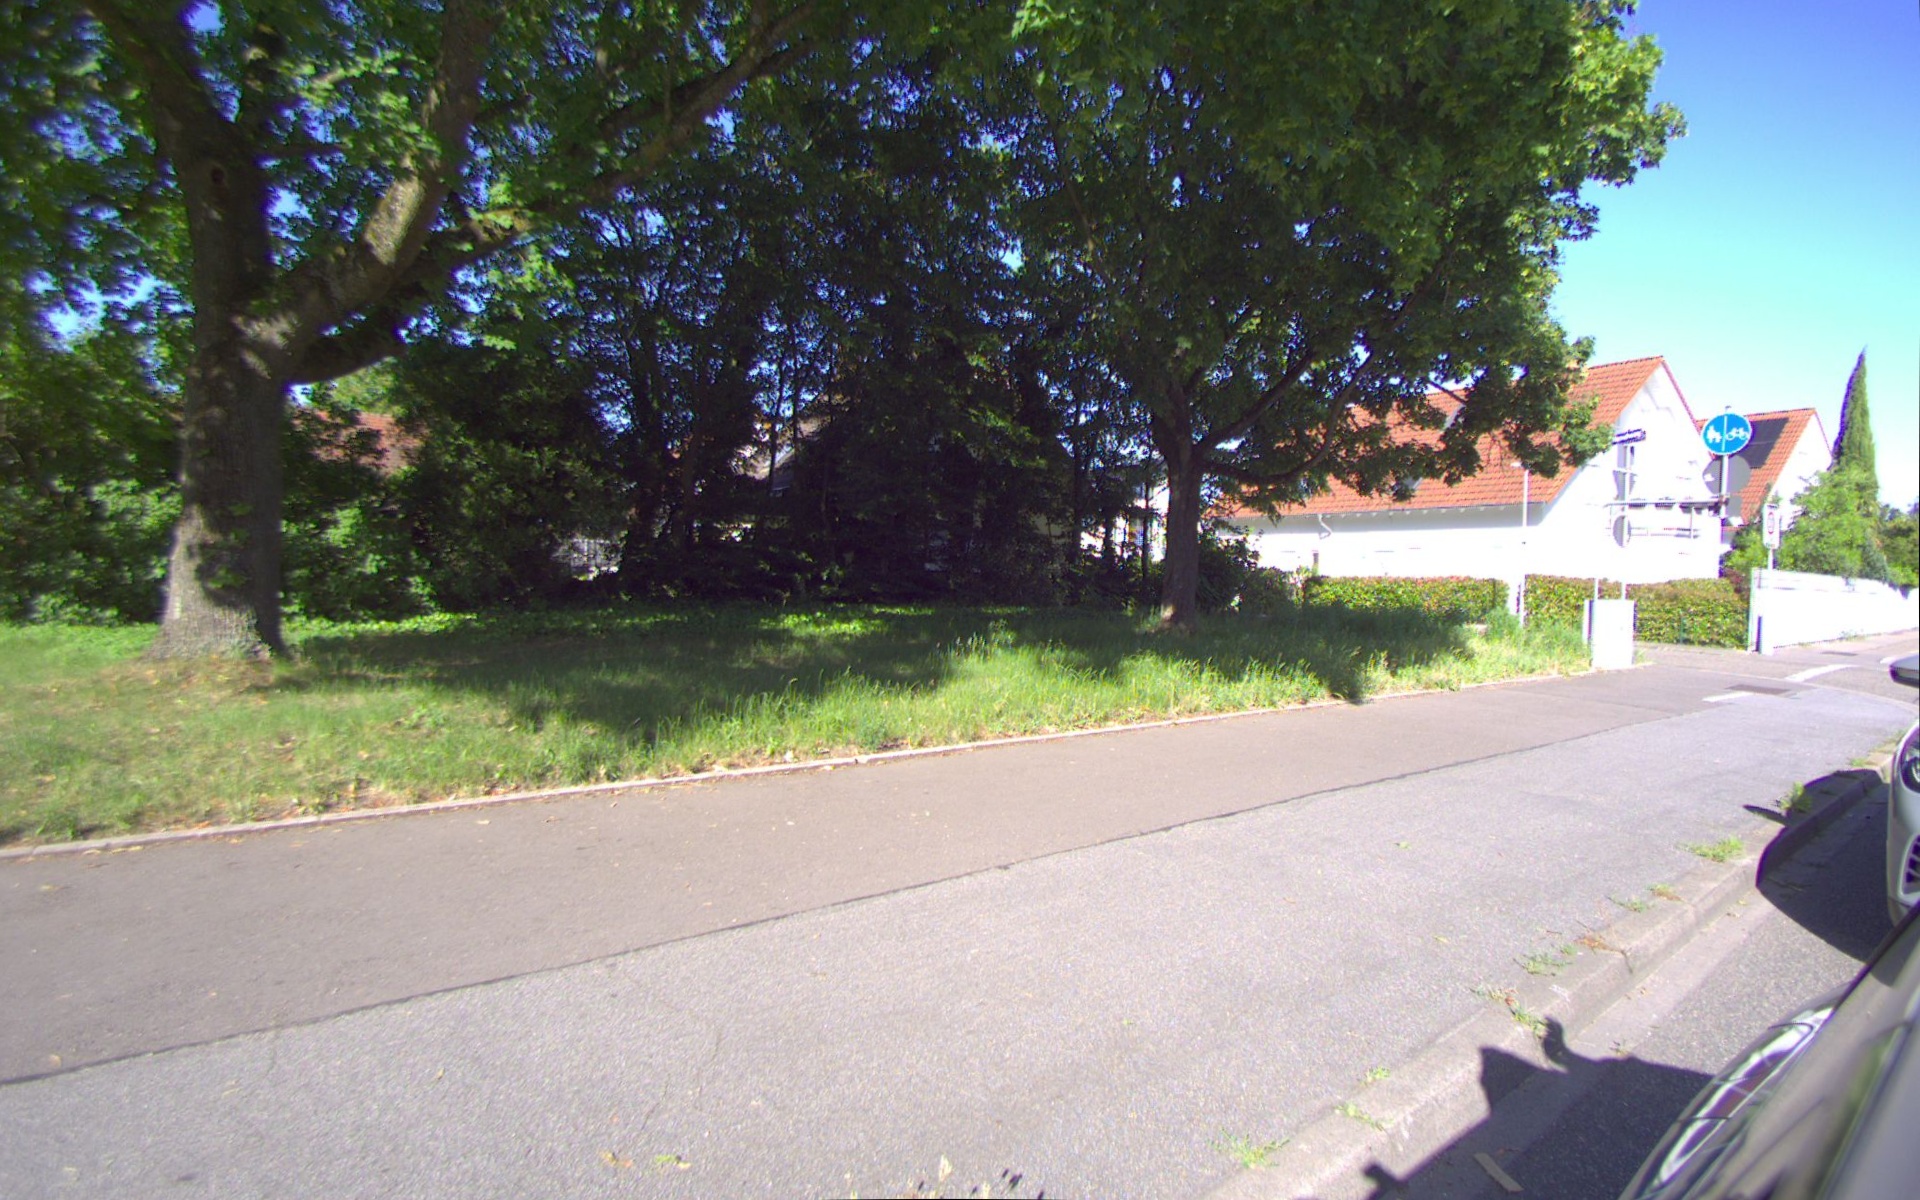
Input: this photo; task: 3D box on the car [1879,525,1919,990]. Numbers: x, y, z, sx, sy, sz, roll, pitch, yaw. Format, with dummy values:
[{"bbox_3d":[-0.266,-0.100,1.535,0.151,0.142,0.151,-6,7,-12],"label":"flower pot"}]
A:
[{"bbox_3d":[5.636,0.601,4.436,4.133,1.710,1.857,0,3,-41],"label":"car"}]
